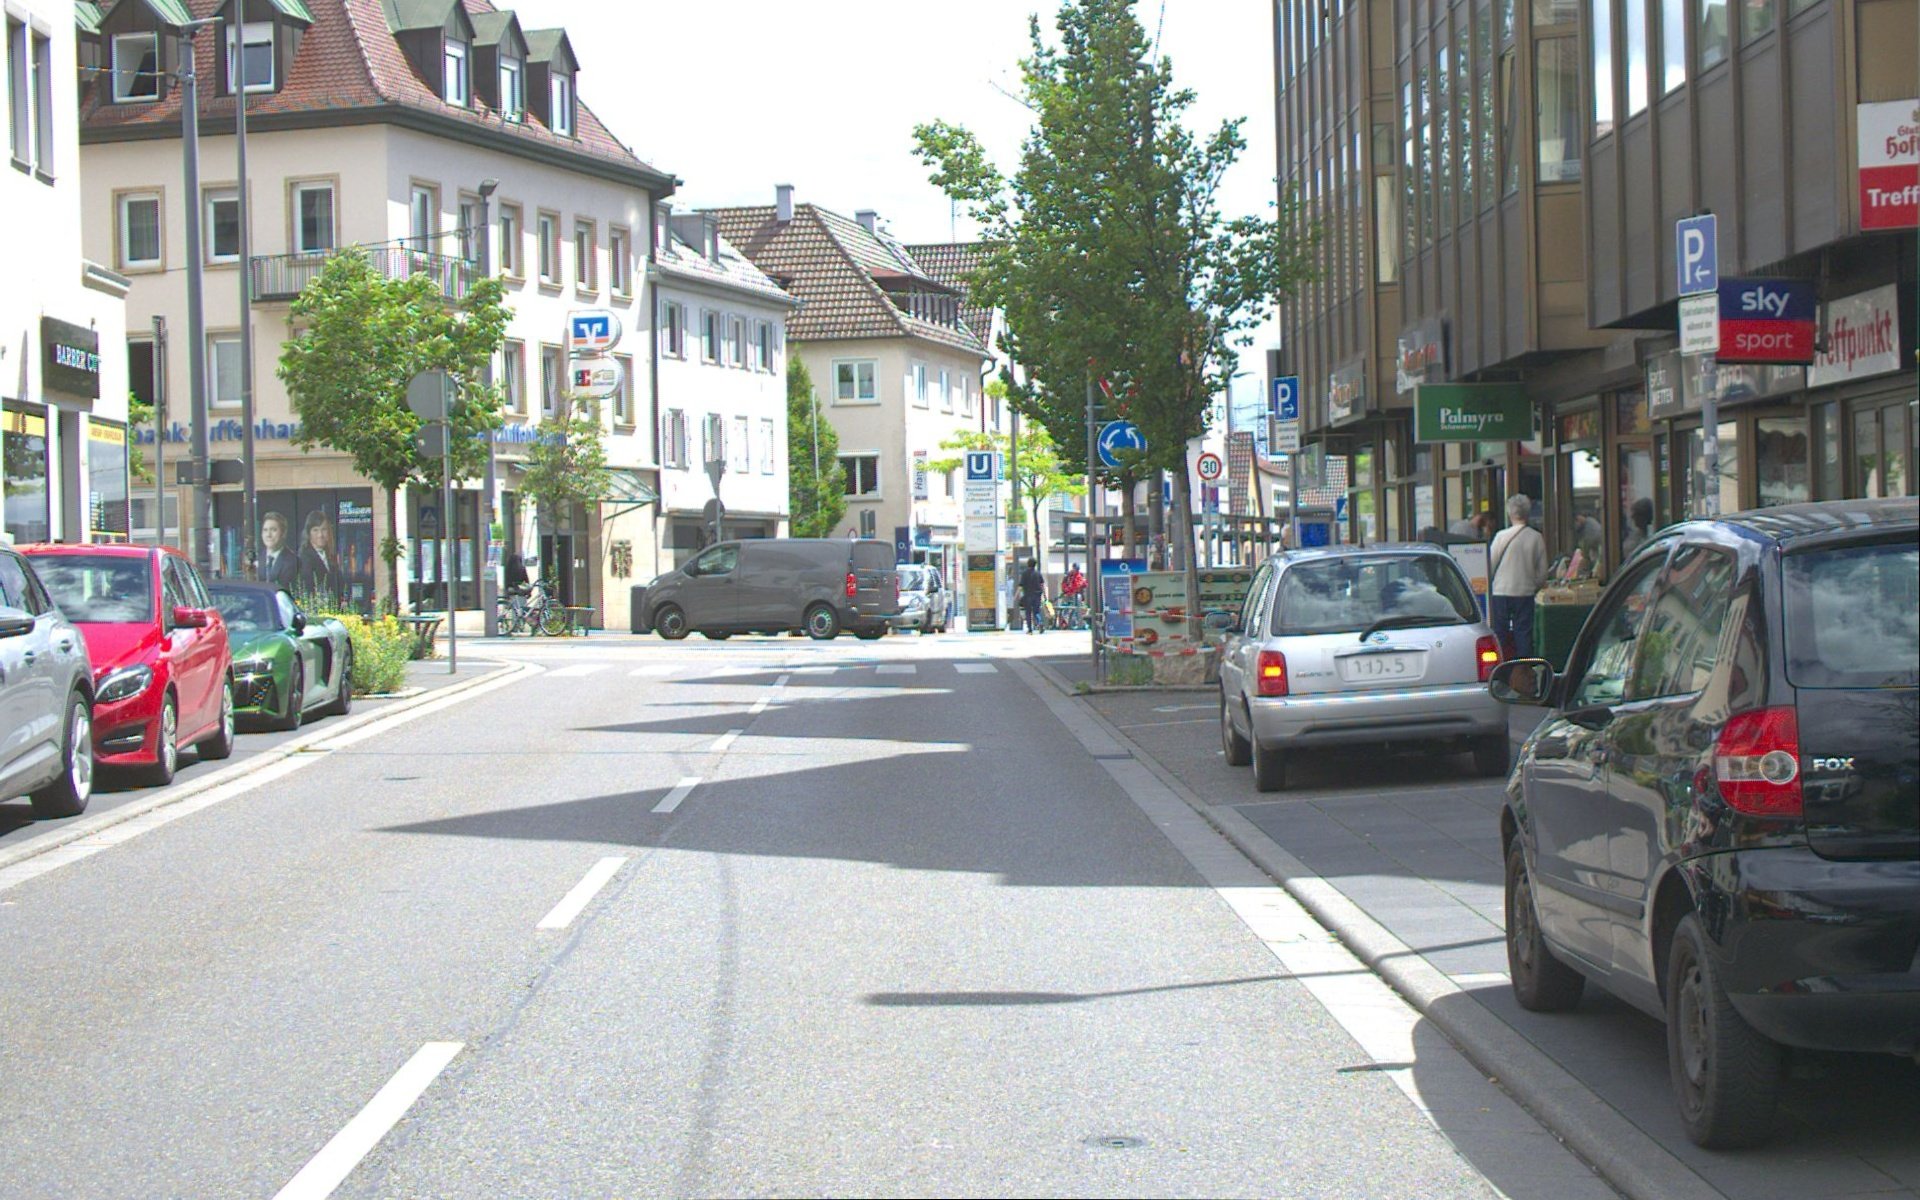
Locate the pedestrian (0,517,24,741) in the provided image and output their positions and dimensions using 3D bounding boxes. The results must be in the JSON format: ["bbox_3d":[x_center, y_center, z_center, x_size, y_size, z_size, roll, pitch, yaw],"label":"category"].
[{"bbox_3d":[-7.362,0.210,25.353,0.686,1.642,0.779,0,0,1],"label":"pedestrian"}]

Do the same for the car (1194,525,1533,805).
[{"bbox_3d":[2.439,0.336,21.591,1.609,1.490,3.795,-4,1,1],"label":"car"}]

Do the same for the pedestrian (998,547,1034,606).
[{"bbox_3d":[1.502,-0.642,92.011,0.746,1.574,0.730,0,1,-23],"label":"pedestrian"}]

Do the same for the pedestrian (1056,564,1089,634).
[{"bbox_3d":[2.851,-0.031,86.853,0.727,1.757,0.748,0,1,10],"label":"pedestrian"}]

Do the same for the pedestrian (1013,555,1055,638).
[{"bbox_3d":[1.538,-0.075,71.442,0.869,1.702,0.531,0,0,2],"label":"pedestrian"}]

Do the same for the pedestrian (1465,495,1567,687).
[{"bbox_3d":[4.994,-0.077,30.897,0.655,1.701,0.647,0,0,-23],"label":"pedestrian"}]

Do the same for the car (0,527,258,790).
[{"bbox_3d":[-5.987,0.330,23.179,1.799,1.598,4.219,-1,1,-3],"label":"car"}]

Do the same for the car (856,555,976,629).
[{"bbox_3d":[-1.008,-0.195,80.977,1.994,1.683,3.998,0,0,12],"label":"car"}]

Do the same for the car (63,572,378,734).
[{"bbox_3d":[-6.335,0.408,29.936,1.818,1.219,4.524,1,1,-1],"label":"car"}]

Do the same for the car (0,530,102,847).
[{"bbox_3d":[-5.805,0.454,17.976,1.799,1.598,4.352,-1,1,-4],"label":"car"}]

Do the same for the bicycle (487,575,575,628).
[{"bbox_3d":[-8.499,0.030,68.111,1.633,1.027,0.568,0,0,15],"label":"bicycle"}]

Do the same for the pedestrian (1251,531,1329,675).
[{"bbox_3d":[3.736,0.029,38.992,0.784,1.610,0.800,0,0,-1],"label":"pedestrian"}]

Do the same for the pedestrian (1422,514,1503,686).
[{"bbox_3d":[5.365,-0.001,36.736,0.737,1.808,0.711,0,0,-1],"label":"pedestrian"}]

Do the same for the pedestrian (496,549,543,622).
[{"bbox_3d":[-9.328,-0.308,72.790,0.627,1.527,0.858,0,0,23],"label":"pedestrian"}]

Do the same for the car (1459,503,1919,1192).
[{"bbox_3d":[2.485,0.501,9.595,1.609,1.527,3.795,-2,1,0],"label":"car"}]

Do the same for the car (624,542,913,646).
[{"bbox_3d":[-3.541,-0.132,63.291,4.991,1.842,2.044,1,0,29],"label":"car"}]
